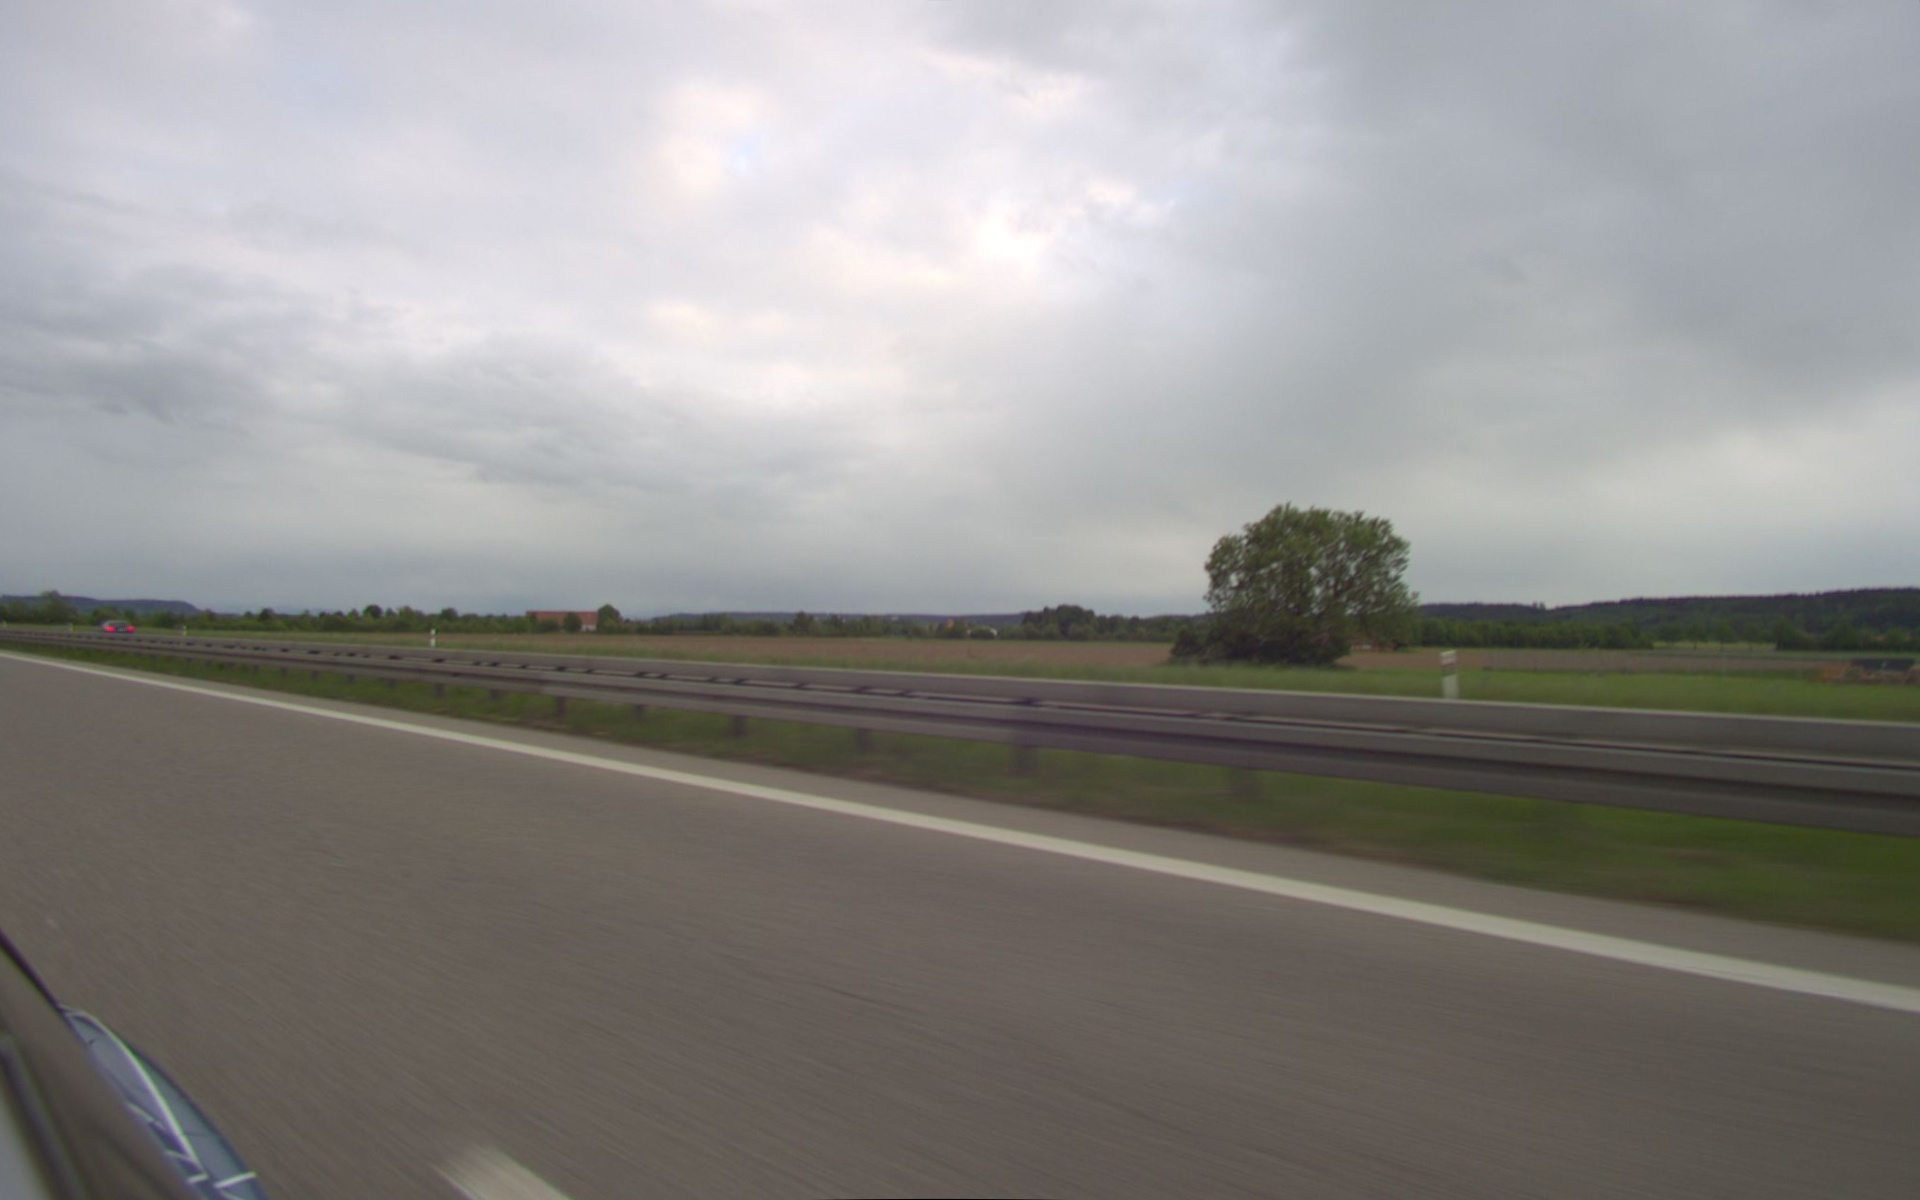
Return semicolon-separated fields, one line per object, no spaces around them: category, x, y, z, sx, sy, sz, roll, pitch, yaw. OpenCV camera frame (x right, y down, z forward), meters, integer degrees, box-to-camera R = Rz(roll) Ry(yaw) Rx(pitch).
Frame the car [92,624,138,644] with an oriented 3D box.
car;-64.383;2.566;77.065;4.521;1.427;1.973;-1;0;41
